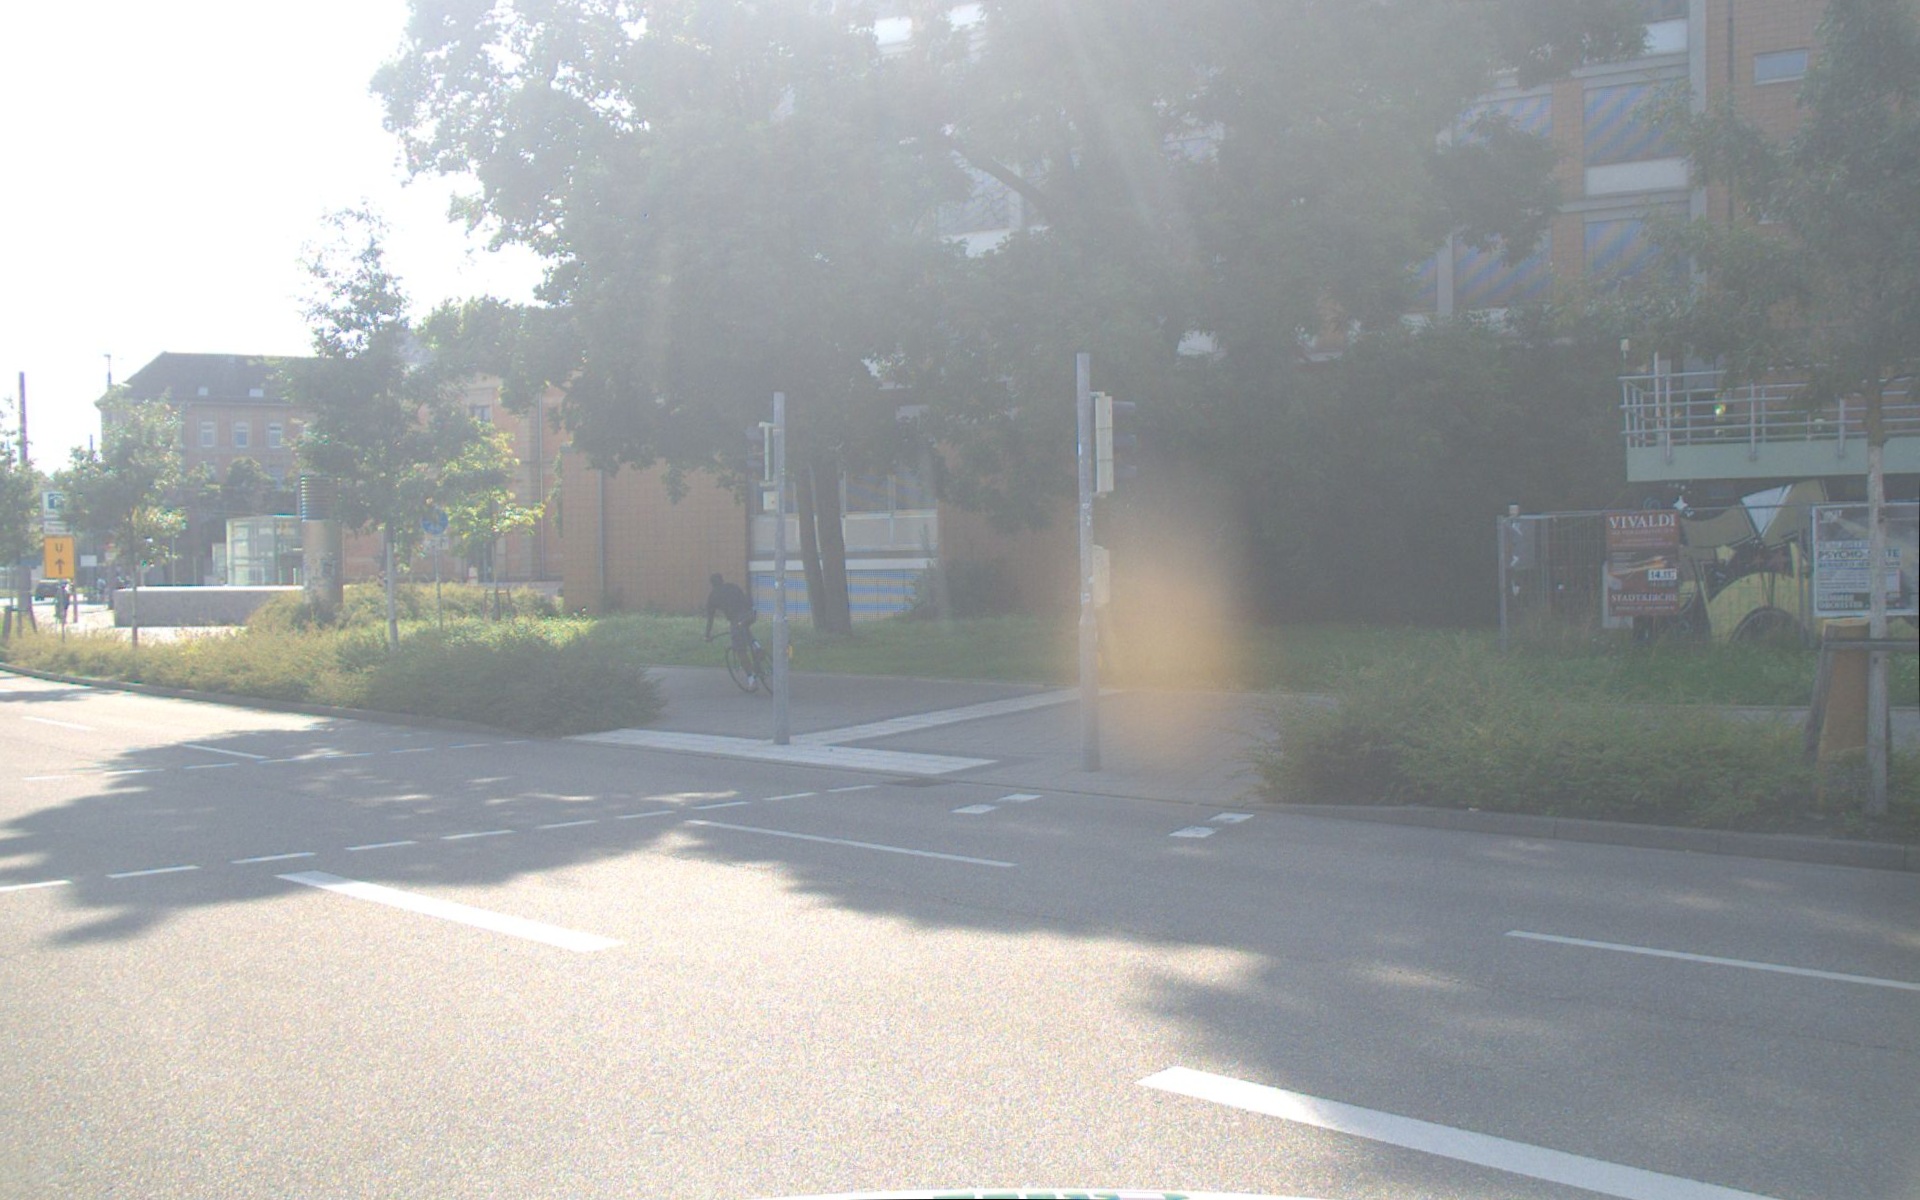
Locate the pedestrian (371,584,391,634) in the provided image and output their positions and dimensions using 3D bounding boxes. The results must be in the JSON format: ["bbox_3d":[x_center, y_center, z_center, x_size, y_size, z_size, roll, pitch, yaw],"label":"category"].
[{"bbox_3d":[-19.542,0.310,55.840,0.605,1.667,0.531,-1,1,-19],"label":"pedestrian"}]

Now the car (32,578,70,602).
[{"bbox_3d":[-80.808,-0.945,147.081,2.379,2.048,4.747,-1,1,-22],"label":"car"}]

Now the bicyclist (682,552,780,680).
[{"bbox_3d":[-3.041,0.196,21.962,0.769,1.605,0.975,-8,6,-43],"label":"bicyclist"}]

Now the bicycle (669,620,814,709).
[{"bbox_3d":[-2.915,0.825,21.918,0.768,0.992,2.116,-8,6,-42],"label":"bicycle"}]
